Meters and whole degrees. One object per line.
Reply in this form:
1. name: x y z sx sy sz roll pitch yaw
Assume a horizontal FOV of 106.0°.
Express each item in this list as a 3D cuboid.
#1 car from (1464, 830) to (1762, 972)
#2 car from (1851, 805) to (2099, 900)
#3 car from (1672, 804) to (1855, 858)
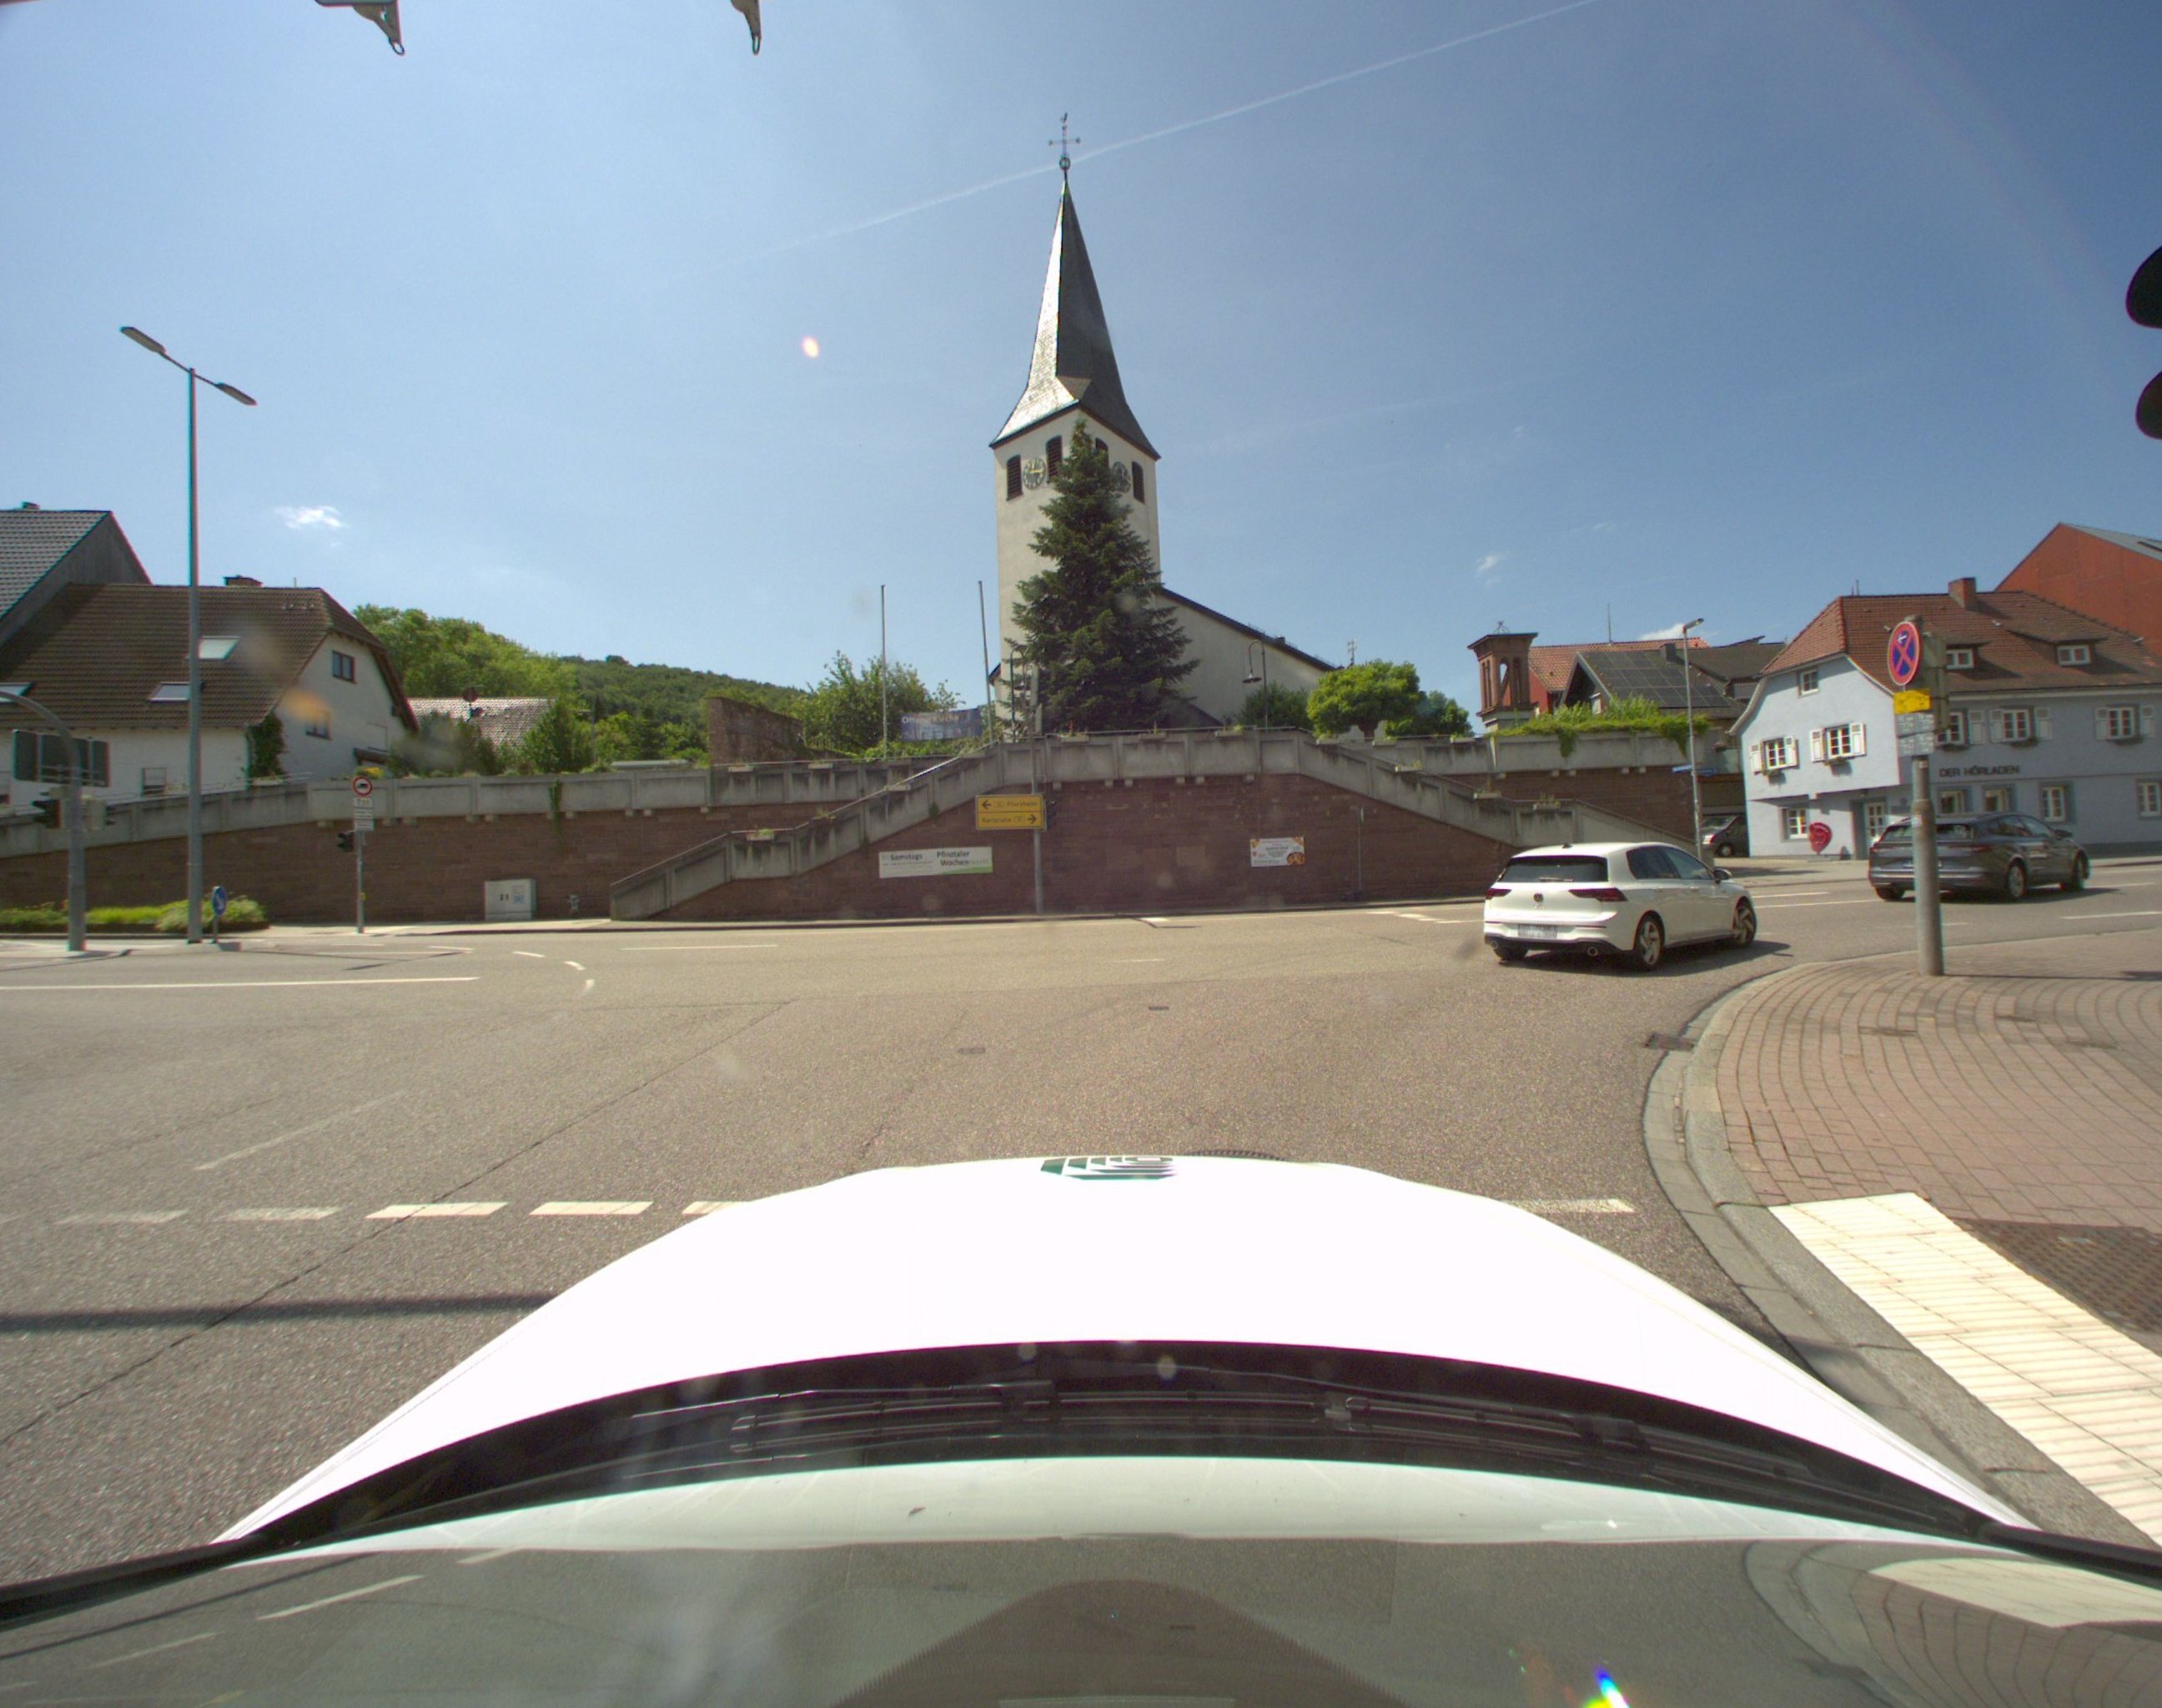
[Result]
1. car: 6.821 0.489 10.346 3.878 1.458 1.769 -2 -1 -34
2. car: 17.144 -0.060 15.611 4.332 1.582 1.940 -2 0 -25
3. car: 31.233 -0.989 37.487 5.943 2.014 2.530 -3 -2 7
